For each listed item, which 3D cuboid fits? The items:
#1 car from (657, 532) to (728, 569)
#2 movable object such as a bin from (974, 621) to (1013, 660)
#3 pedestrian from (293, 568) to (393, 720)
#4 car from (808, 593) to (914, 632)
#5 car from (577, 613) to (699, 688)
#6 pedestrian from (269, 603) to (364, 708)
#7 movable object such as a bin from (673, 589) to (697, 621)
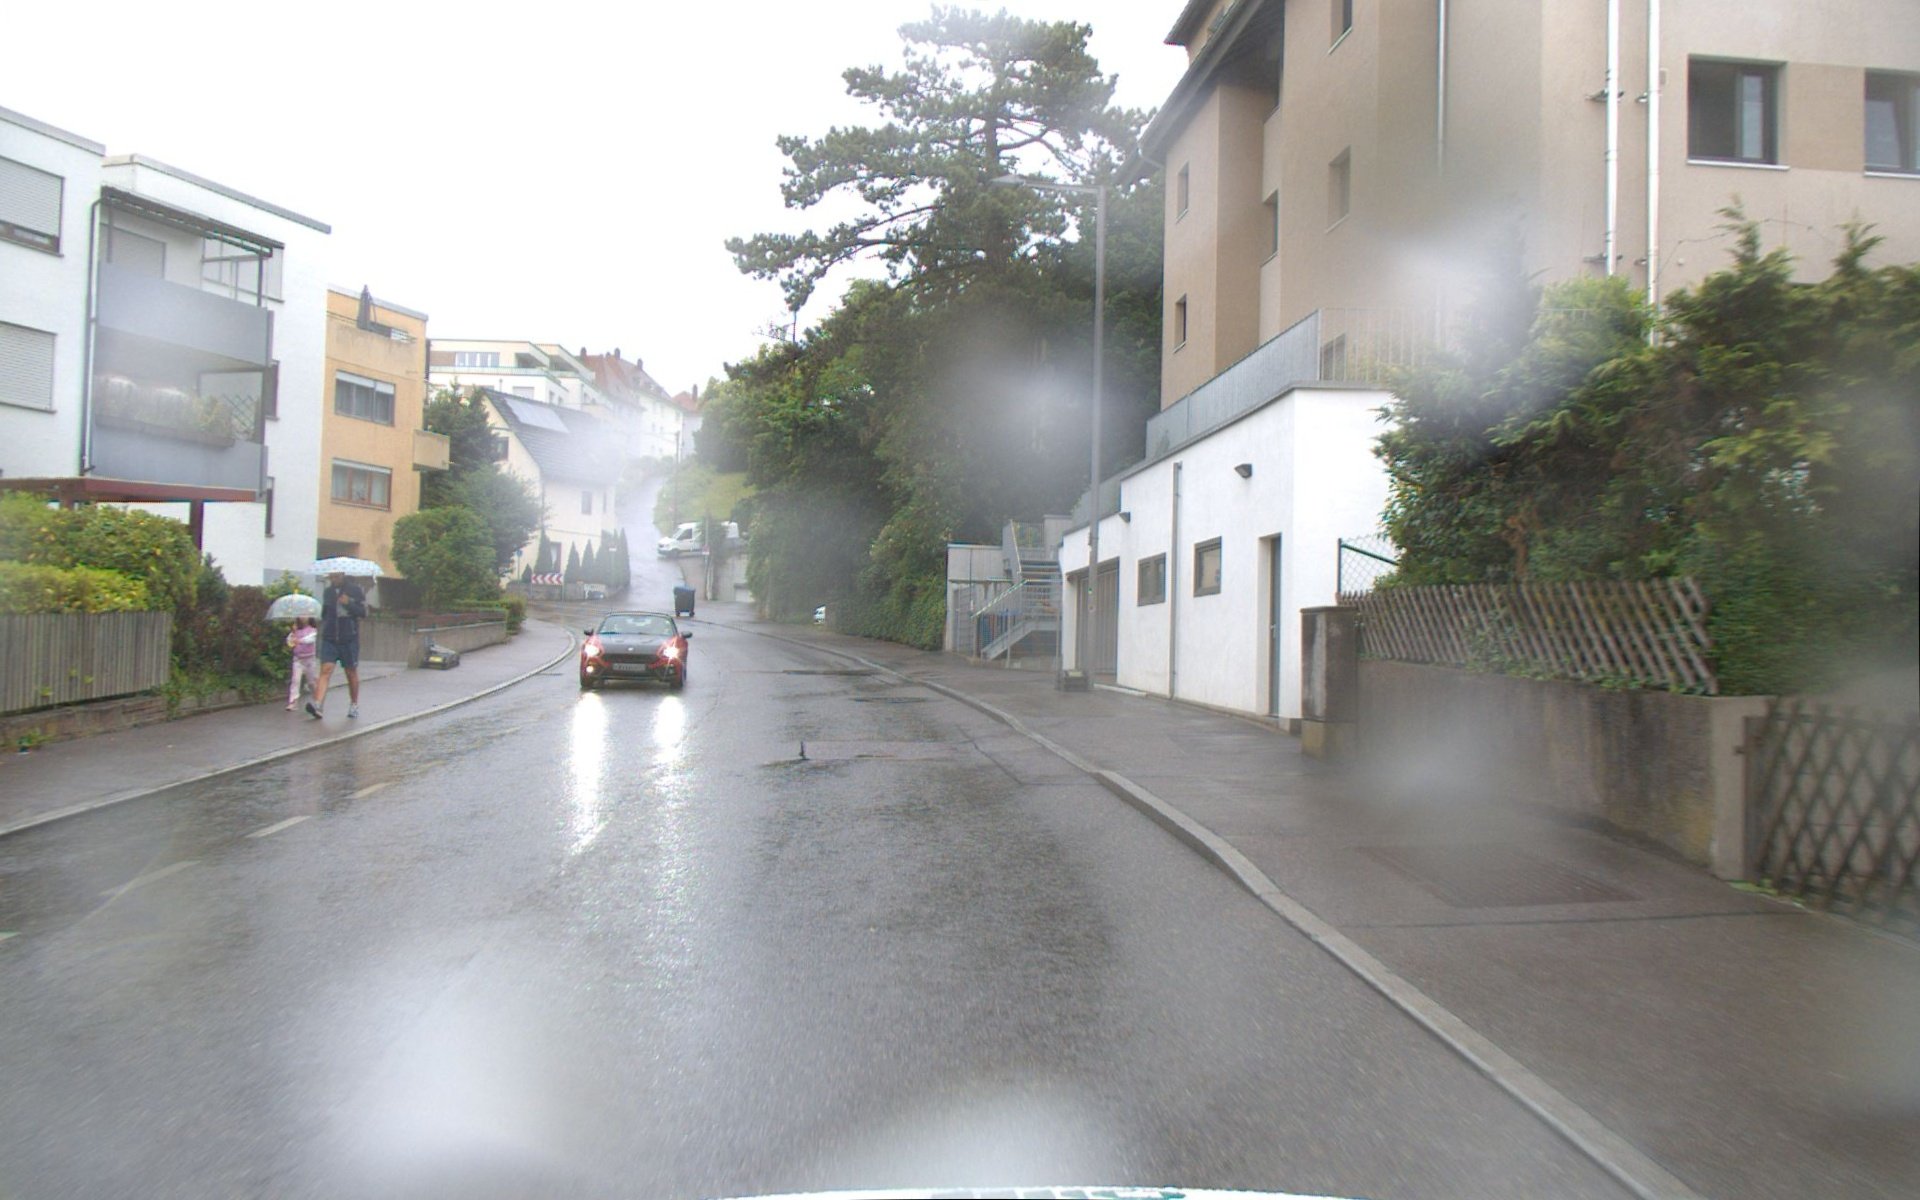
[{"bbox_3d":[-19.434,-3.618,120.115,4.865,2.614,1.895,-1,1,-18],"label":"car"},{"bbox_3d":[0.842,1.017,41.793,0.859,0.958,0.744,1,0,-11],"label":"movable object such as a bin"},{"bbox_3d":[-7.095,0.490,19.073,0.741,1.672,1.038,3,-1,-4],"label":"pedestrian"},{"bbox_3d":[-4.073,0.505,67.729,4.073,1.502,1.898,-1,1,-14],"label":"car"},{"bbox_3d":[-5.568,0.843,28.972,1.646,1.166,3.996,1,0,-5],"label":"car"},{"bbox_3d":[-7.721,0.650,19.887,0.741,1.200,1.038,3,-1,-4],"label":"pedestrian"},{"bbox_3d":[-13.176,0.247,79.352,1.062,1.467,1.454,2,0,-11],"label":"movable object such as a bin"}]
